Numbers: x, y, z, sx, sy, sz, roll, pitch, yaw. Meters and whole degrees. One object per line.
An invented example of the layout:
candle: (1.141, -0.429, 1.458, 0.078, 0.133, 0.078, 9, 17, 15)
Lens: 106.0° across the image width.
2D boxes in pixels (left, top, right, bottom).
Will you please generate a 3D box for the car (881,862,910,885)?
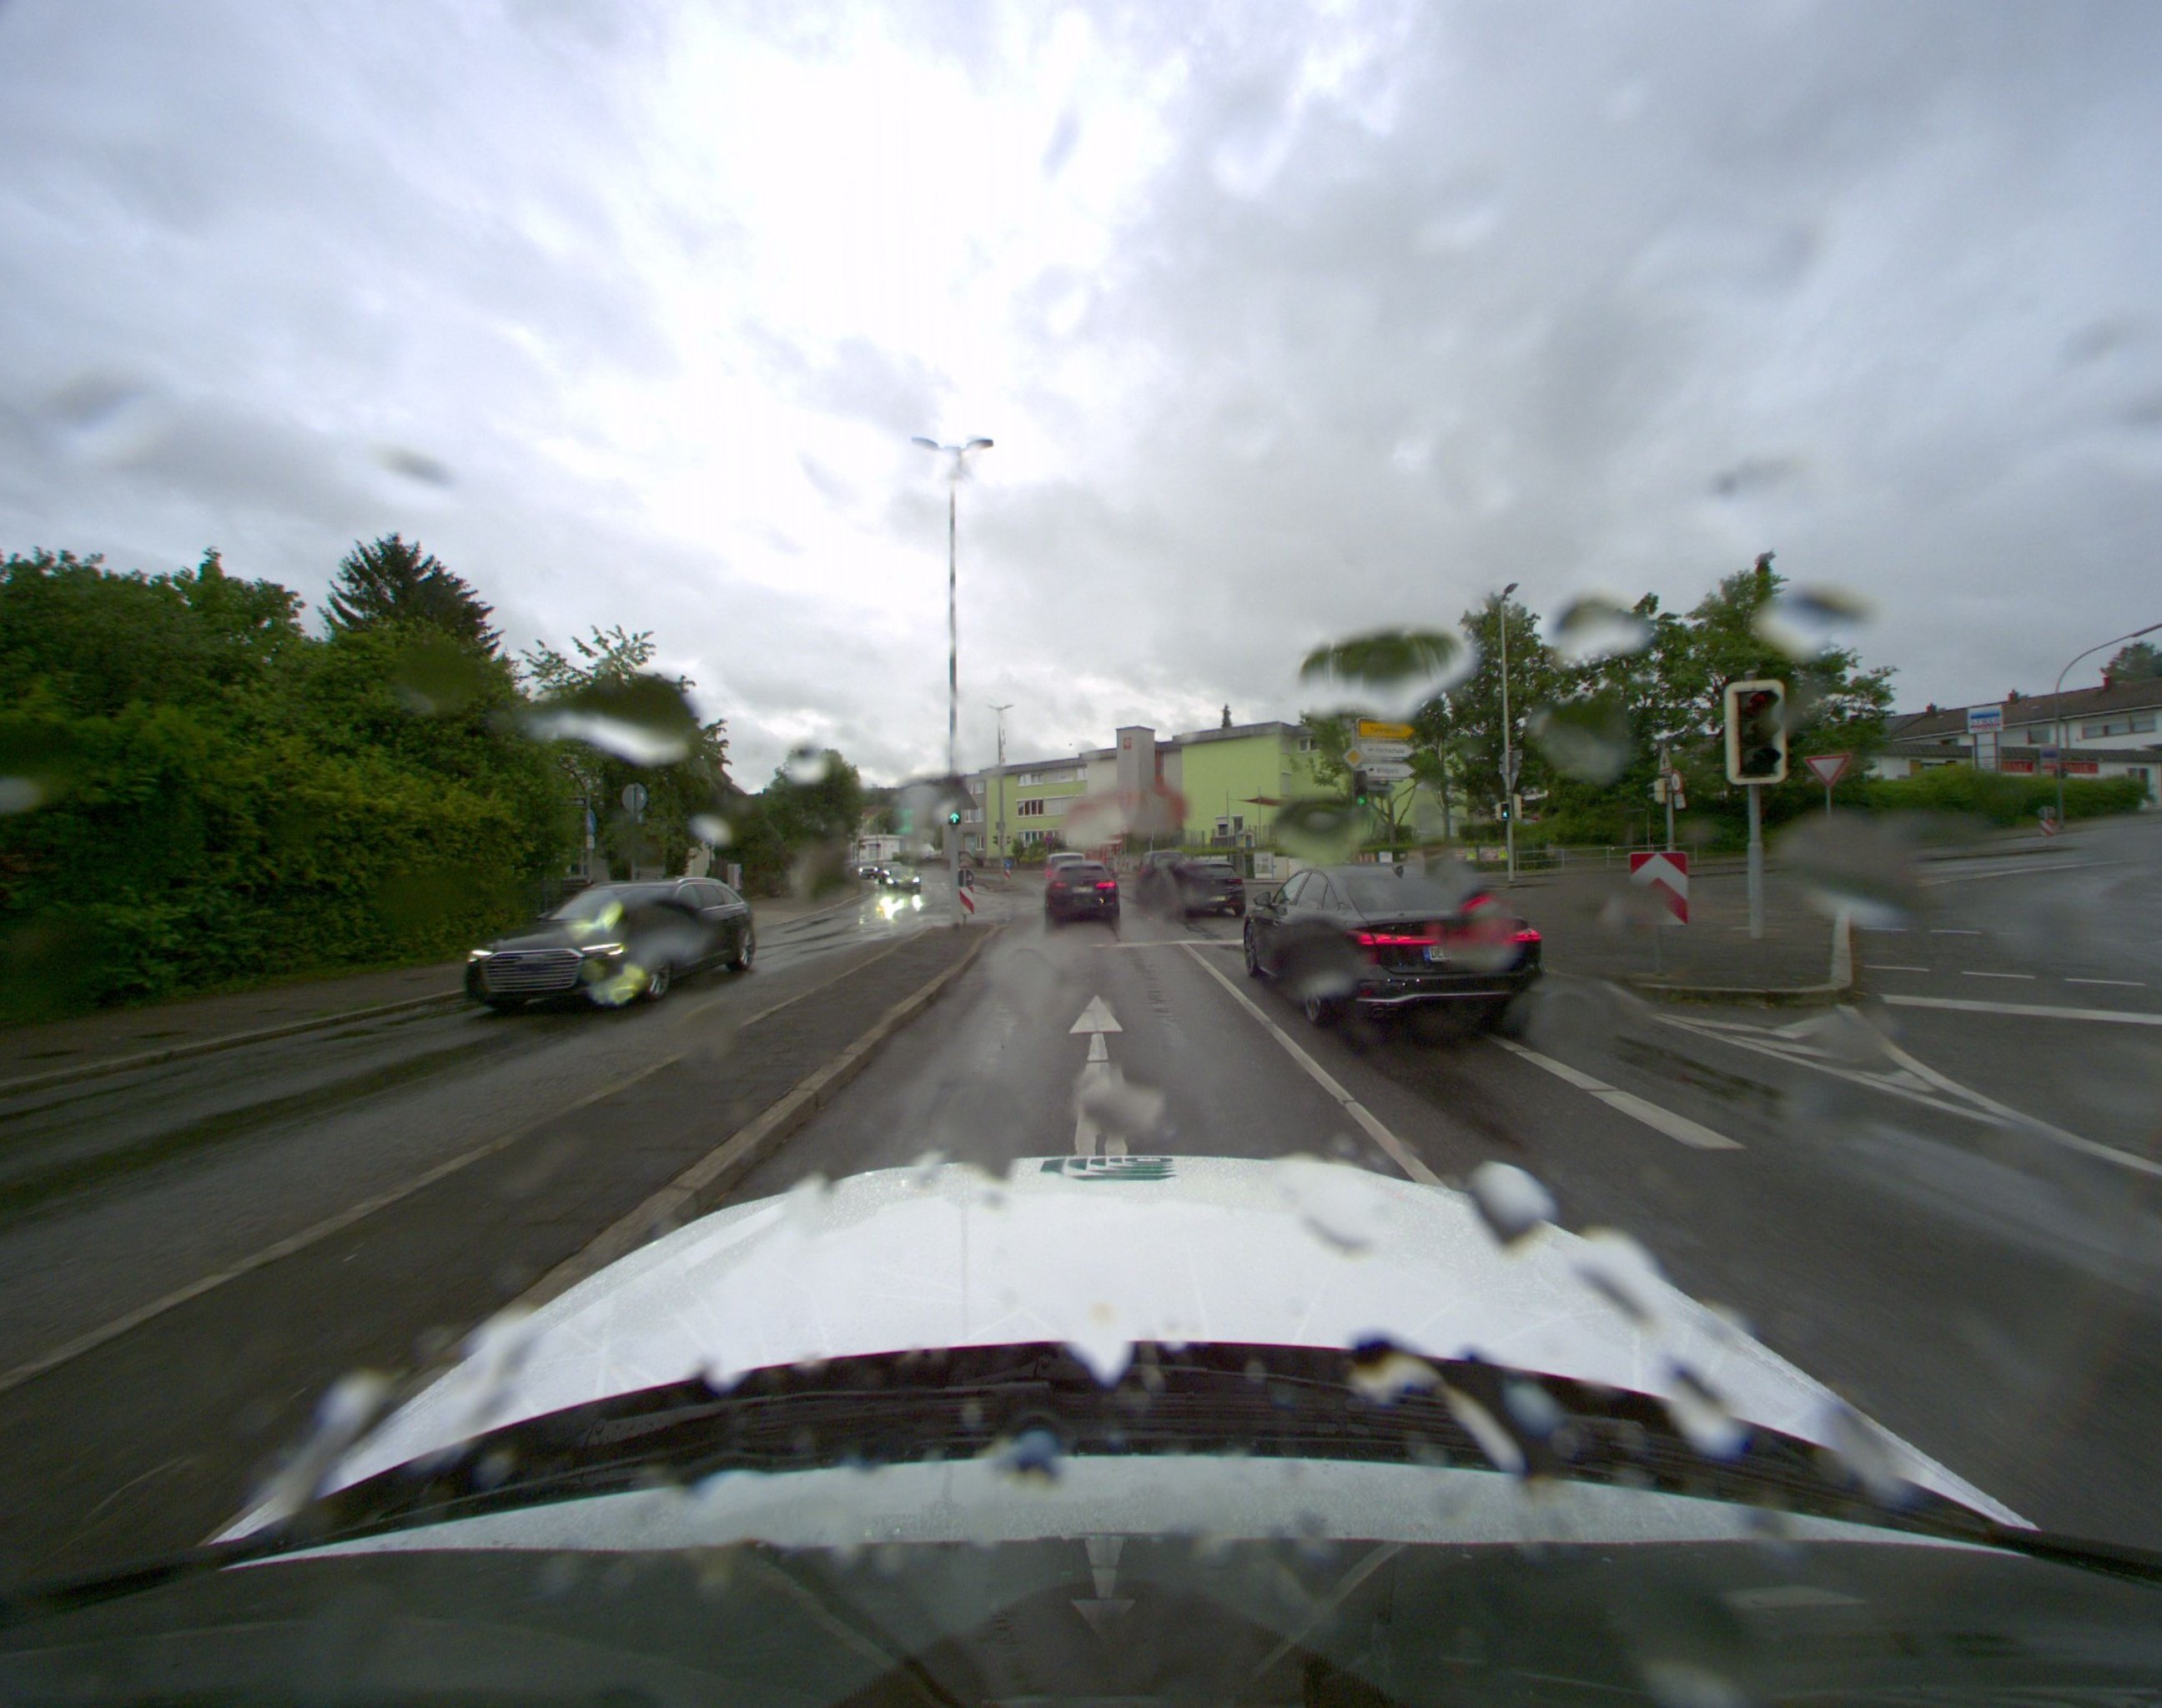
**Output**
car: (-13.990, 1.437, 61.345, 1.854, 1.564, 3.977, -2, 0, -16)

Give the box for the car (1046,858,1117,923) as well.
car: (-0.055, 0.899, 21.630, 1.678, 1.506, 3.770, -2, 0, -2)

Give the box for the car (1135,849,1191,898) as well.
car: (3.139, 0.694, 31.895, 1.777, 1.734, 4.086, -2, 0, 0)

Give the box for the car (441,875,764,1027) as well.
car: (-5.913, 1.075, 10.854, 1.733, 1.437, 4.552, -3, -1, -3)

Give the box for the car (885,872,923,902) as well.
car: (-9.824, 1.799, 45.518, 1.793, 1.489, 4.140, -3, 0, -10)

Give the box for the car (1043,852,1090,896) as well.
car: (-0.699, 0.821, 36.350, 1.715, 1.844, 4.077, 0, 0, -7)

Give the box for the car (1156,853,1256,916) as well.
car: (3.262, 0.752, 22.018, 1.846, 1.486, 4.082, -2, 0, -3)

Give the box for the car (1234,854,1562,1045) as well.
car: (2.864, 0.738, 8.524, 1.701, 1.427, 4.509, -1, 0, 1)

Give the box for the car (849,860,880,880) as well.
car: (-19.799, 1.473, 74.400, 1.632, 1.581, 3.734, -3, -1, -33)

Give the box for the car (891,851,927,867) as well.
car: (-22.378, 0.647, 105.795, 4.404, 1.772, 1.989, -3, 0, -16)
